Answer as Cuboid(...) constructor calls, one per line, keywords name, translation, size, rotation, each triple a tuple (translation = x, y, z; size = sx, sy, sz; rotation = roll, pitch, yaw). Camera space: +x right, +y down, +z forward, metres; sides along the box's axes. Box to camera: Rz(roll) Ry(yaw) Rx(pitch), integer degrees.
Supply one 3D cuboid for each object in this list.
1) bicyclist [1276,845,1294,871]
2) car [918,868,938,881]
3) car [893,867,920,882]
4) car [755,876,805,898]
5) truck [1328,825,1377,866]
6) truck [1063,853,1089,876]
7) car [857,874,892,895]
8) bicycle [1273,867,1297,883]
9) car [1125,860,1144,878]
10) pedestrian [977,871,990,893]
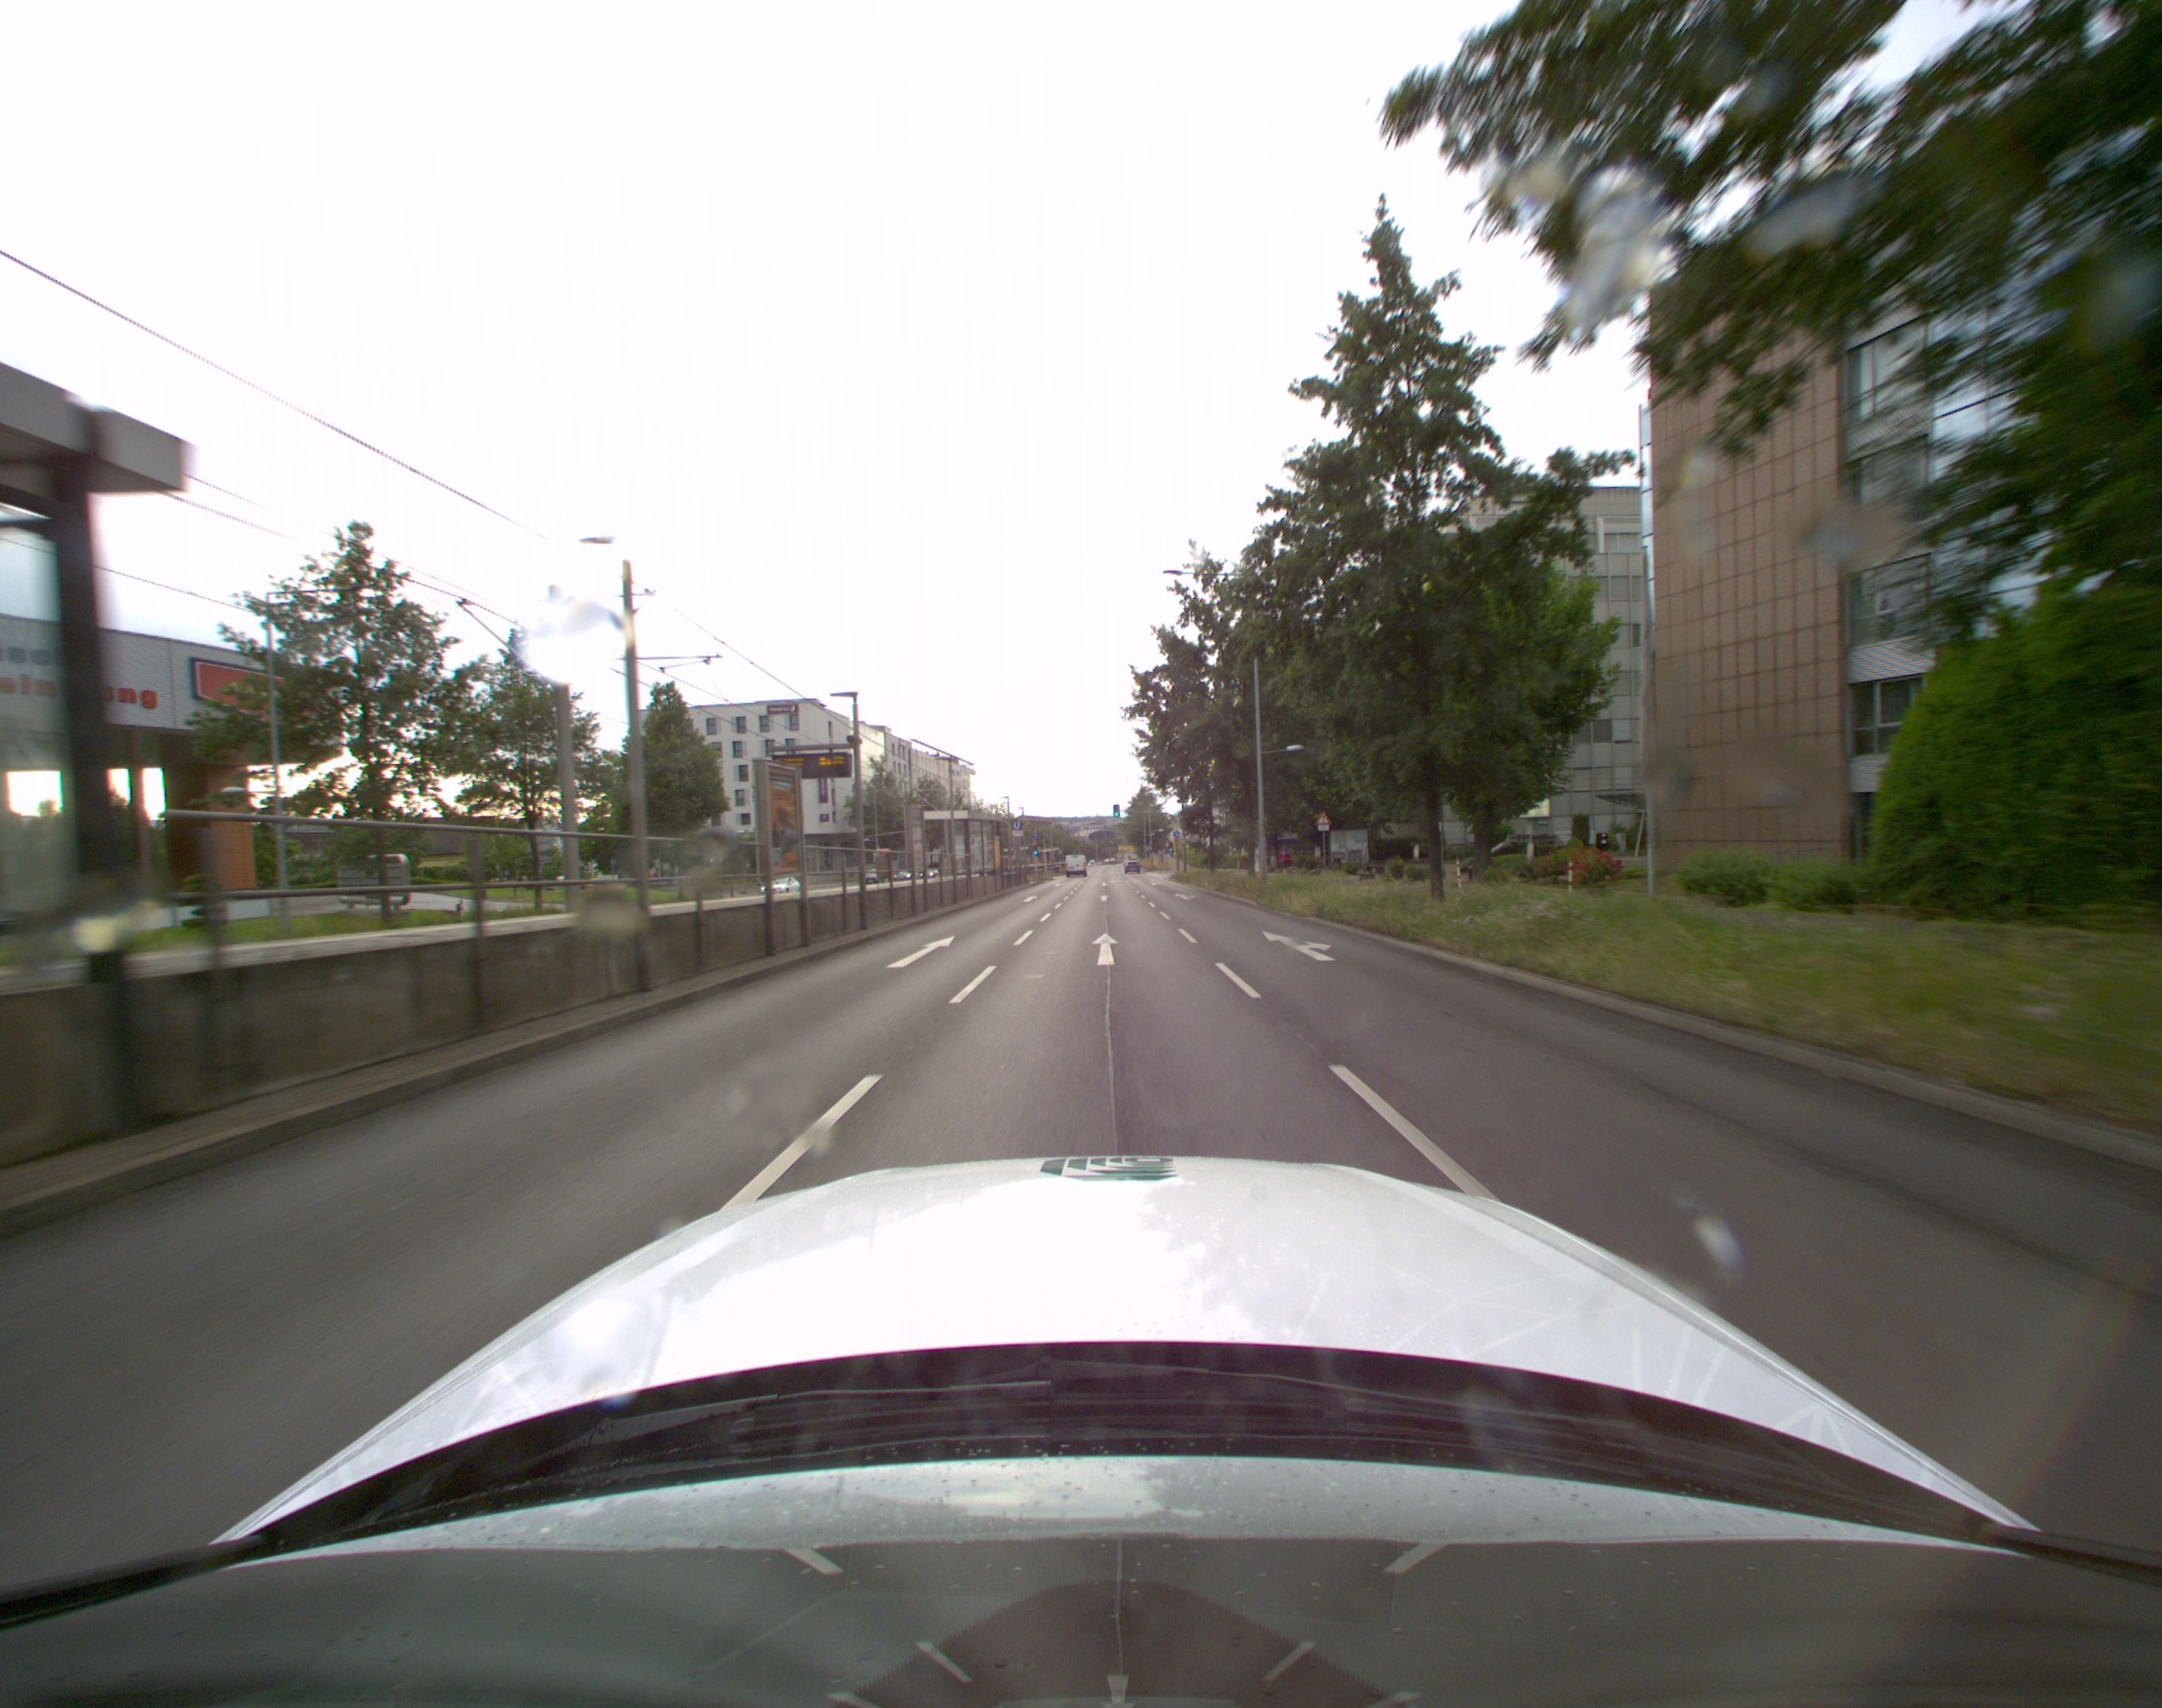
Cuboid(name="bicyclist", translation=(10.289, 0.196, 41.142), size=(0.653, 1.288, 1.220), rotation=(0, -1, 1))
Cuboid(name="car", translation=(-18.824, 2.502, 100.303), size=(1.722, 1.423, 3.780), rotation=(-2, 0, 1))
Cuboid(name="car", translation=(-18.690, 2.187, 87.296), size=(1.847, 1.427, 4.387), rotation=(-3, 0, -1))
Cuboid(name="car", translation=(-22.483, 2.457, 60.978), size=(1.987, 1.518, 4.706), rotation=(0, -1, 0))
Cuboid(name="truck", translation=(17.369, -0.513, 52.251), size=(1.741, 2.518, 3.997), rotation=(0, -1, -2))
Cuboid(name="truck", translation=(-0.450, 1.097, 84.675), size=(2.350, 2.262, 5.309), rotation=(0, -1, 3))
Cuboid(name="car", translation=(-19.125, 2.787, 75.533), size=(1.986, 1.775, 4.390), rotation=(-2, 0, 2))
Cuboid(name="bicycle", translation=(10.289, 1.052, 41.181), size=(0.665, 0.809, 2.319), rotation=(0, -1, 2))
Cuboid(name="car", translation=(6.267, 1.775, 95.069), size=(1.984, 2.014, 3.940), rotation=(0, -1, 5))
Cuboid(name="pedestrian", translation=(-7.252, 2.065, 60.551), size=(0.704, 1.650, 0.644), rotation=(-1, 0, -27))
